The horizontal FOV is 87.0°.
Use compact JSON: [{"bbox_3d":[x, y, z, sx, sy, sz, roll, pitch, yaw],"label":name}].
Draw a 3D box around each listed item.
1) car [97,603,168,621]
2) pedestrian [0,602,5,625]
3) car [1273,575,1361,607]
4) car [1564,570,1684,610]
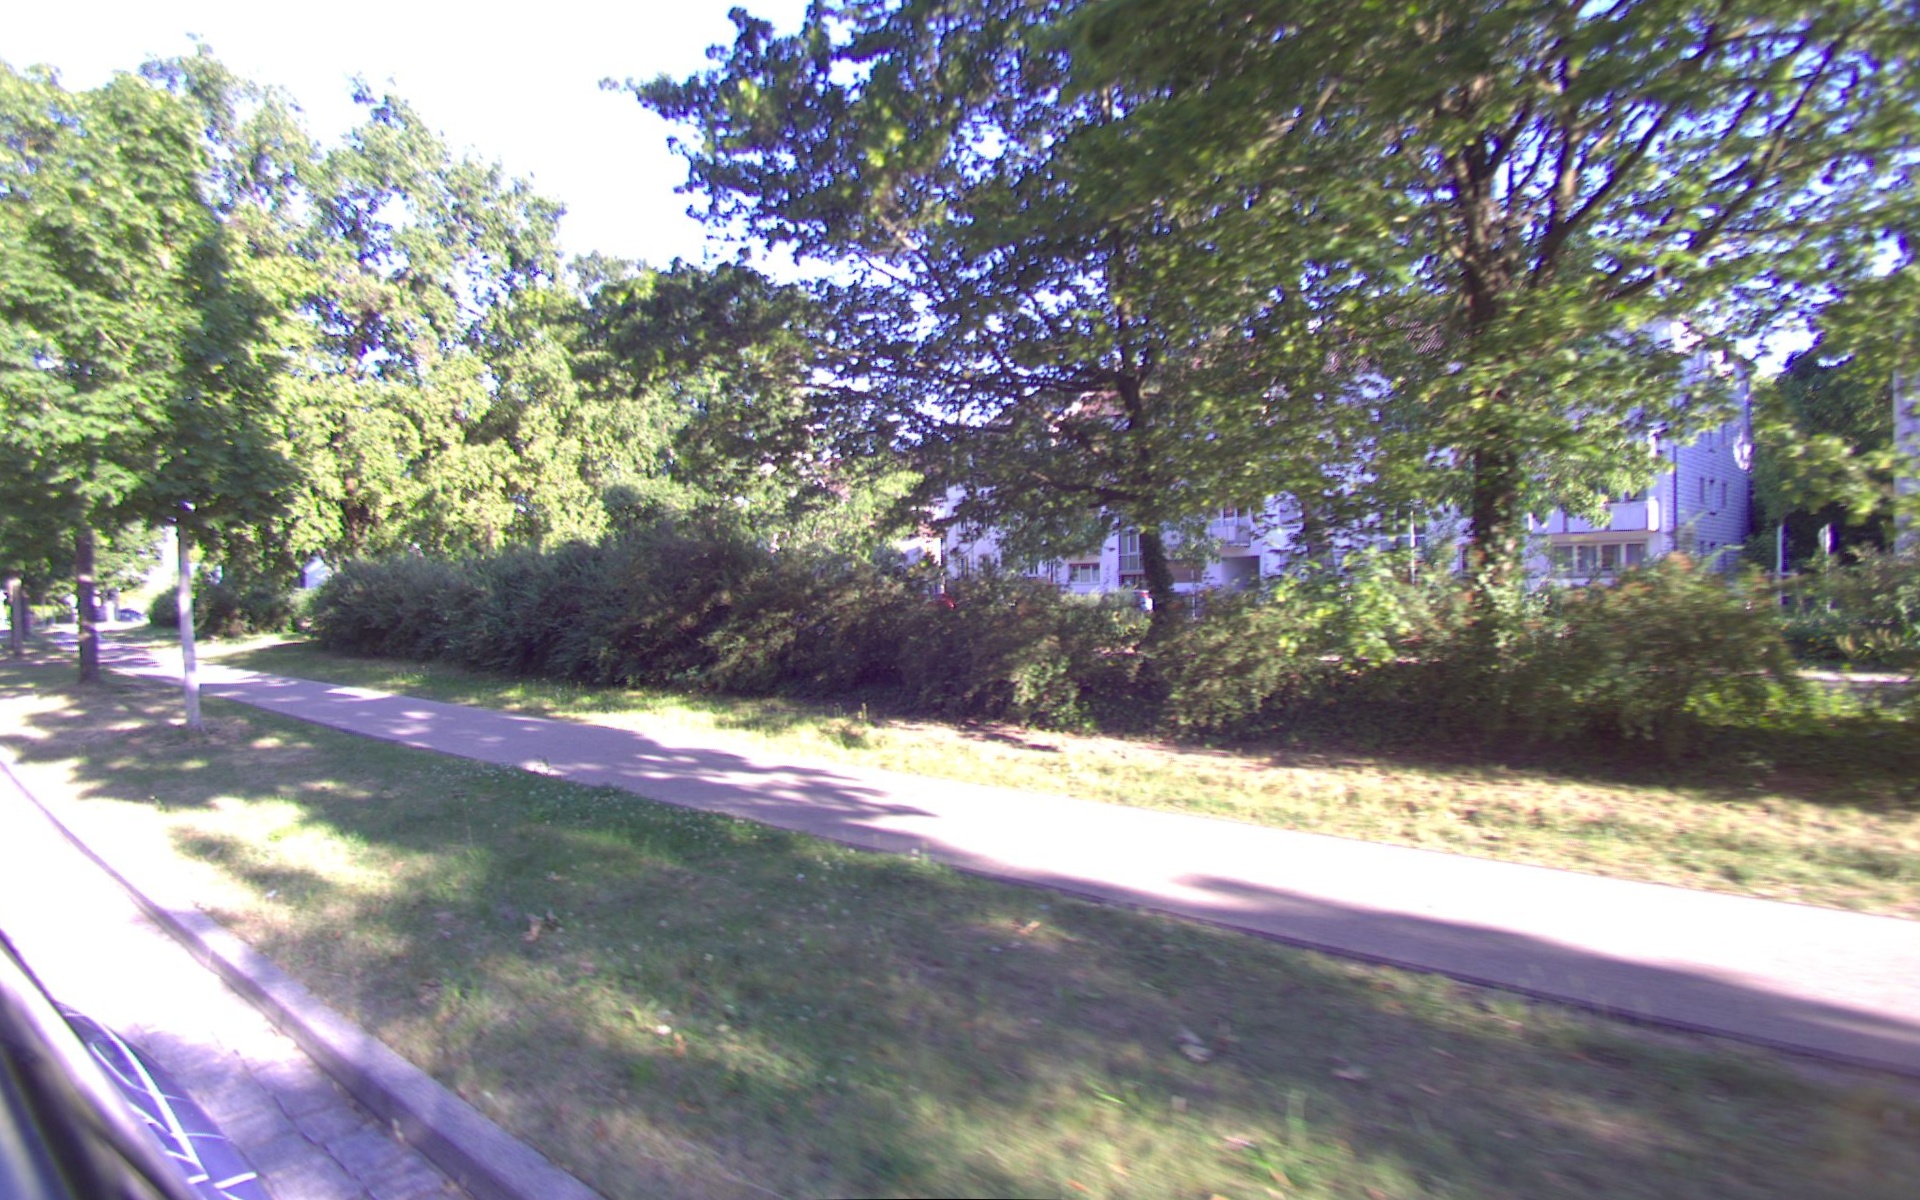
[{"bbox_3d":[-78.085,1.125,95.563,1.862,1.570,4.786,-1,0,32],"label":"car"},{"bbox_3d":[-79.756,1.111,83.910,0.724,1.854,0.606,-4,-2,34],"label":"pedestrian"},{"bbox_3d":[16.220,-0.405,46.042,1.615,1.327,3.380,-3,2,-42],"label":"car"},{"bbox_3d":[24.198,-0.349,36.939,1.615,1.328,3.379,-3,2,-43],"label":"car"}]
